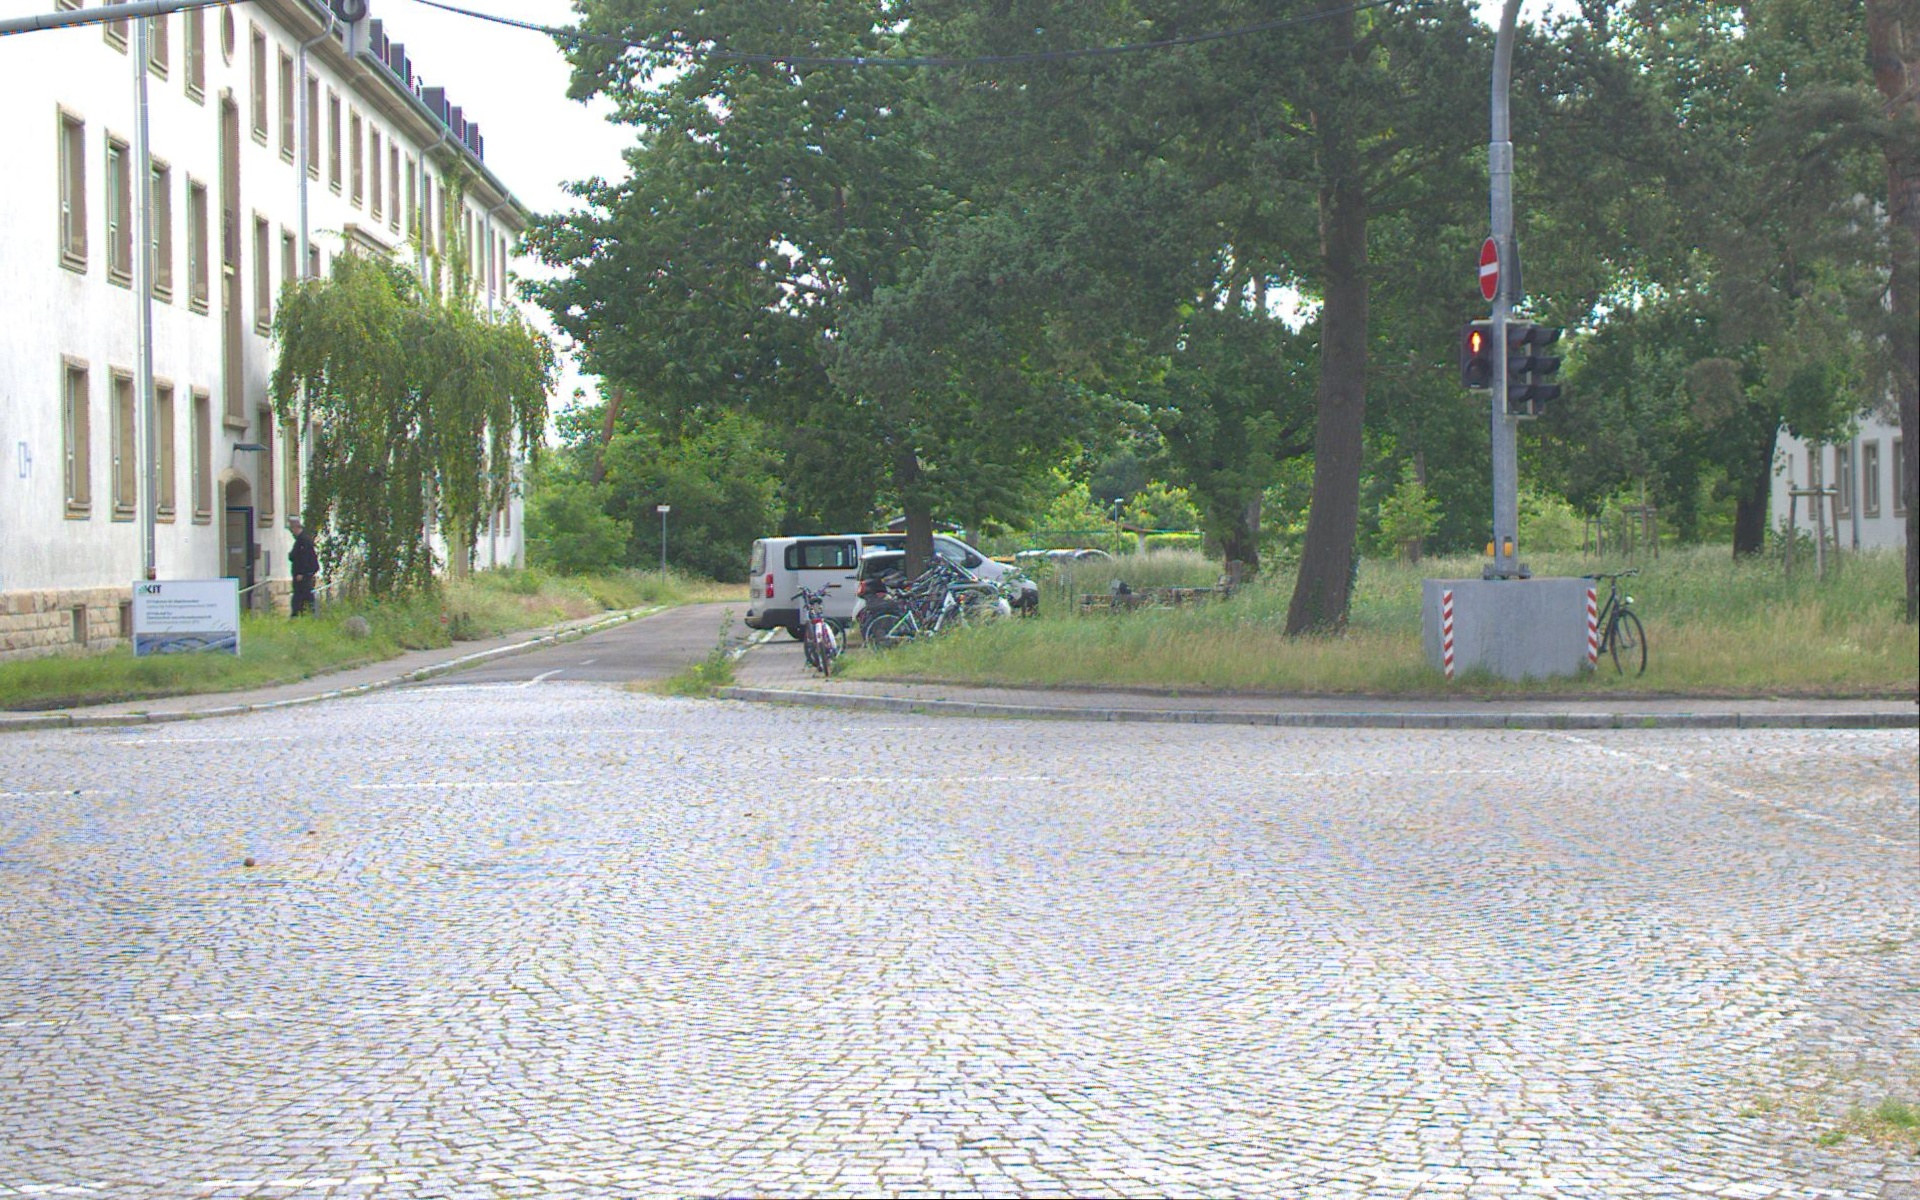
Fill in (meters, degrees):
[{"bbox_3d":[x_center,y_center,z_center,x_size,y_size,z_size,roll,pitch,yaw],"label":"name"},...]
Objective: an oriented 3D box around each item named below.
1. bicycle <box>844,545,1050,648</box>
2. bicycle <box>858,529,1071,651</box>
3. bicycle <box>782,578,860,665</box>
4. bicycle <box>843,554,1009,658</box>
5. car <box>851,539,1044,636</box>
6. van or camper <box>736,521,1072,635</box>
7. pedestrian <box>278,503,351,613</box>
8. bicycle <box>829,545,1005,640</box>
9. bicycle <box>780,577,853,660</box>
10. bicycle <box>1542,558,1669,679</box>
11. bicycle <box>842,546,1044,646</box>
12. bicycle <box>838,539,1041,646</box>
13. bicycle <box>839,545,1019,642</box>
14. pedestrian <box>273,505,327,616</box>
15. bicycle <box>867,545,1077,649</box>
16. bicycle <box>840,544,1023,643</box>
[{"bbox_3d":[-0.193,-0.055,47.398,2.802,1.367,0.951,-1,1,-2],"label":"bicycle"},{"bbox_3d":[0.046,-0.136,45.937,2.802,1.578,0.951,-1,1,-2],"label":"bicycle"},{"bbox_3d":[-1.656,0.242,41.046,0.900,0.993,1.979,-1,1,-2],"label":"bicycle"},{"bbox_3d":[-0.445,0.075,44.448,2.113,1.302,0.874,-1,1,-2],"label":"bicycle"},{"bbox_3d":[-0.240,-0.212,59.062,3.224,1.615,1.938,0,0,-2],"label":"car"},{"bbox_3d":[-1.032,-0.423,62.557,5.740,1.950,2.238,-1,1,-14],"label":"van or camper"},{"bbox_3d":[-11.172,-0.728,59.479,1.194,1.863,1.550,0,0,-12],"label":"pedestrian"},{"bbox_3d":[-0.650,-0.114,50.925,2.567,1.367,0.951,-1,1,-2],"label":"bicycle"},{"bbox_3d":[-1.792,0.226,43.136,0.727,0.993,1.978,-1,1,3],"label":"bicycle"},{"bbox_3d":[6.082,0.156,32.477,0.644,1.059,1.834,-4,1,-4],"label":"bicycle"},{"bbox_3d":[-0.249,-0.062,48.291,2.802,1.367,0.951,-1,1,-2],"label":"bicycle"},{"bbox_3d":[-0.275,-0.104,45.061,2.619,1.362,0.874,-1,1,-2],"label":"bicycle"},{"bbox_3d":[-0.462,-0.106,50.090,2.567,1.367,0.951,-1,1,-2],"label":"bicycle"},{"bbox_3d":[-11.569,-0.692,60.258,0.865,1.925,0.837,1,0,-13],"label":"pedestrian"},{"bbox_3d":[0.149,-0.048,46.871,2.802,1.367,0.951,-1,1,-2],"label":"bicycle"},{"bbox_3d":[-0.424,-0.099,49.251,2.567,1.367,0.951,-1,1,-2],"label":"bicycle"}]
